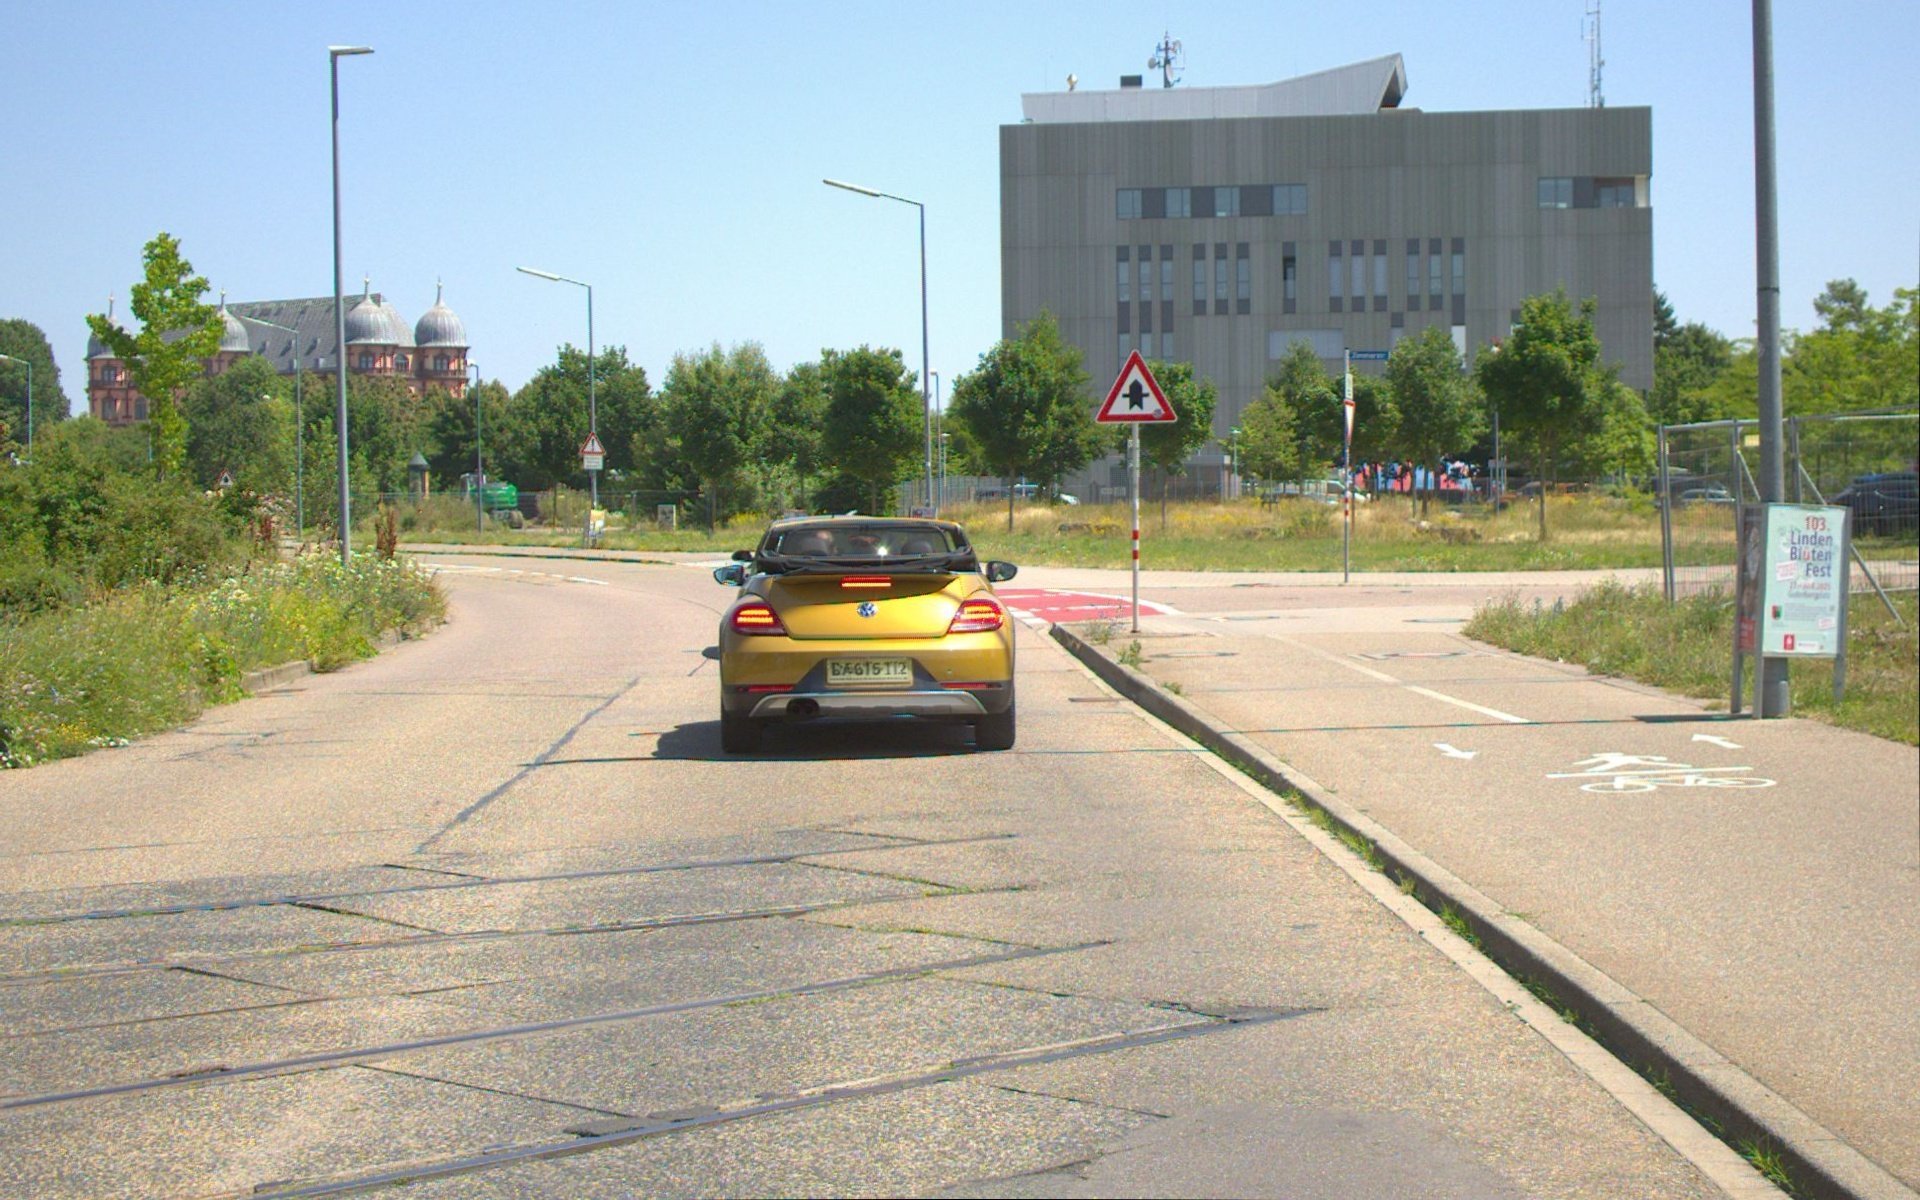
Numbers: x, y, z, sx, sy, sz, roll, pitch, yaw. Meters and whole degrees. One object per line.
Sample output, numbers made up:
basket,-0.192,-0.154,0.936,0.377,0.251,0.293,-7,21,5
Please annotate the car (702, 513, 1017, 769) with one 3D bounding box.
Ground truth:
car,-0.598,0.187,21.619,1.790,1.431,3.814,-1,2,-1

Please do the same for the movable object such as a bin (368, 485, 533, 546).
movable object such as a bin,-28.446,-4.693,191.535,4.940,3.249,10.468,-2,2,-35

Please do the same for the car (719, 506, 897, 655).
car,-1.534,-0.243,35.882,1.726,1.438,4.000,-1,1,-1

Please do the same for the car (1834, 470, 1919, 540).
car,22.491,-2.202,78.878,4.494,1.556,2.031,0,2,8

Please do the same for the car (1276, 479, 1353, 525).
car,18.317,-5.064,177.502,3.844,2.286,1.742,-1,1,10
